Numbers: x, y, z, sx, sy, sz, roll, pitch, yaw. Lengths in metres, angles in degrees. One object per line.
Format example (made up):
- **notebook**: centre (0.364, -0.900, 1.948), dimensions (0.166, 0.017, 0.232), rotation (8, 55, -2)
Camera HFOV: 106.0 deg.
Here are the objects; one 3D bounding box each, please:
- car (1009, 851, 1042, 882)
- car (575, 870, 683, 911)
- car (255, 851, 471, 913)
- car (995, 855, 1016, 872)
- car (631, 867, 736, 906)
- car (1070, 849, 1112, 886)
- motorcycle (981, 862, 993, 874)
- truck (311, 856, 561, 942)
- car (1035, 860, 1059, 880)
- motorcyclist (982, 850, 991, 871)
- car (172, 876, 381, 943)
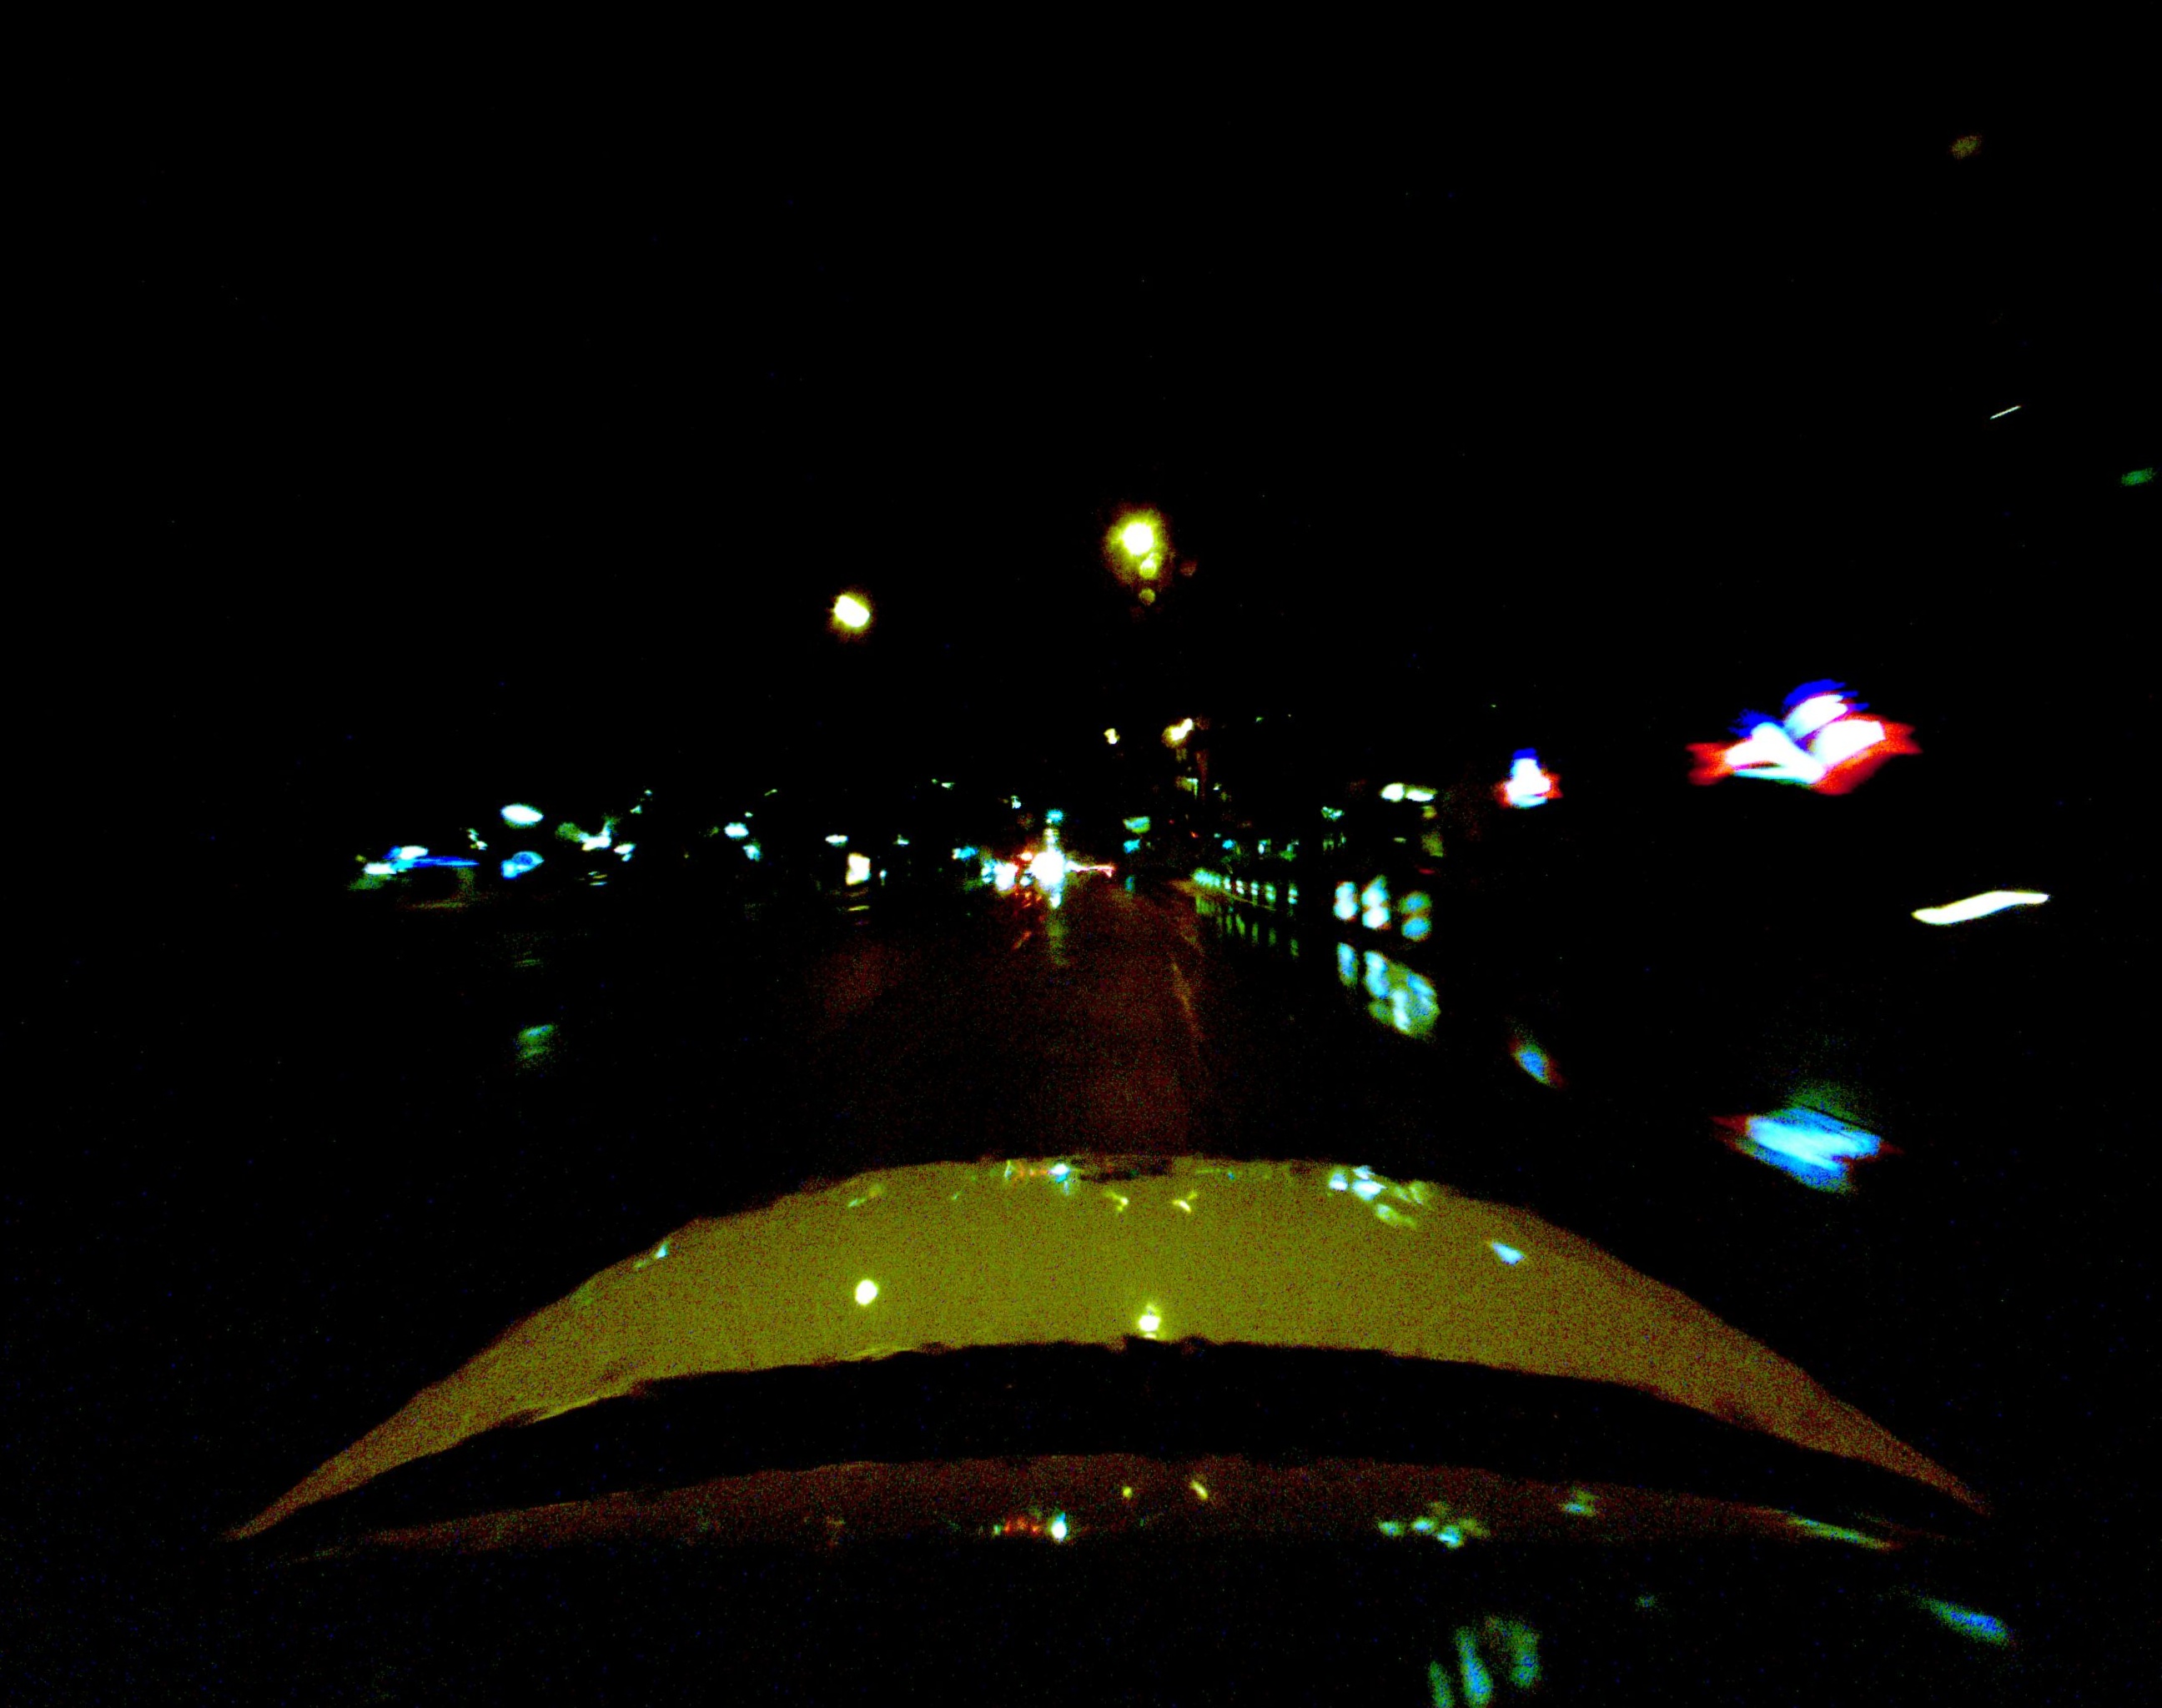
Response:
- **car**: centre (-3.953, 0.855, 59.197), dimensions (2.029, 1.953, 5.197), rotation (-5, 1, -2)
- **car**: centre (-19.821, 1.576, 35.883), dimensions (1.699, 1.520, 3.939), rotation (-3, 0, 21)
- **car**: centre (-21.592, 0.783, 24.747), dimensions (1.849, 1.613, 4.517), rotation (-3, 0, 20)
- **car**: centre (-7.387, 0.943, 80.282), dimensions (1.849, 1.499, 4.762), rotation (-3, 1, -4)
- **car**: centre (-17.255, 1.384, 35.565), dimensions (1.699, 1.431, 3.939), rotation (-3, 0, 21)
- **car**: centre (0.545, 0.778, 48.269), dimensions (2.163, 1.972, 4.297), rotation (-3, 0, -3)
- **motorcycle**: centre (-9.416, 1.400, 81.538), dimensions (0.698, 1.138, 2.177), rotation (-3, 0, 3)
- **truck**: centre (-18.490, 1.191, 23.752), dimensions (2.105, 2.013, 5.289), rotation (-3, 1, 20)
- **car**: centre (-2.936, 1.355, 68.943), dimensions (1.814, 1.542, 4.719), rotation (-3, 0, -4)
- **motorcyclist**: centre (-9.450, 0.675, 81.537), dimensions (0.690, 2.013, 0.983), rotation (-3, 0, 3)
- **car**: centre (-26.417, 1.768, 26.971), dimensions (1.849, 1.795, 4.517), rotation (-3, 0, 20)
